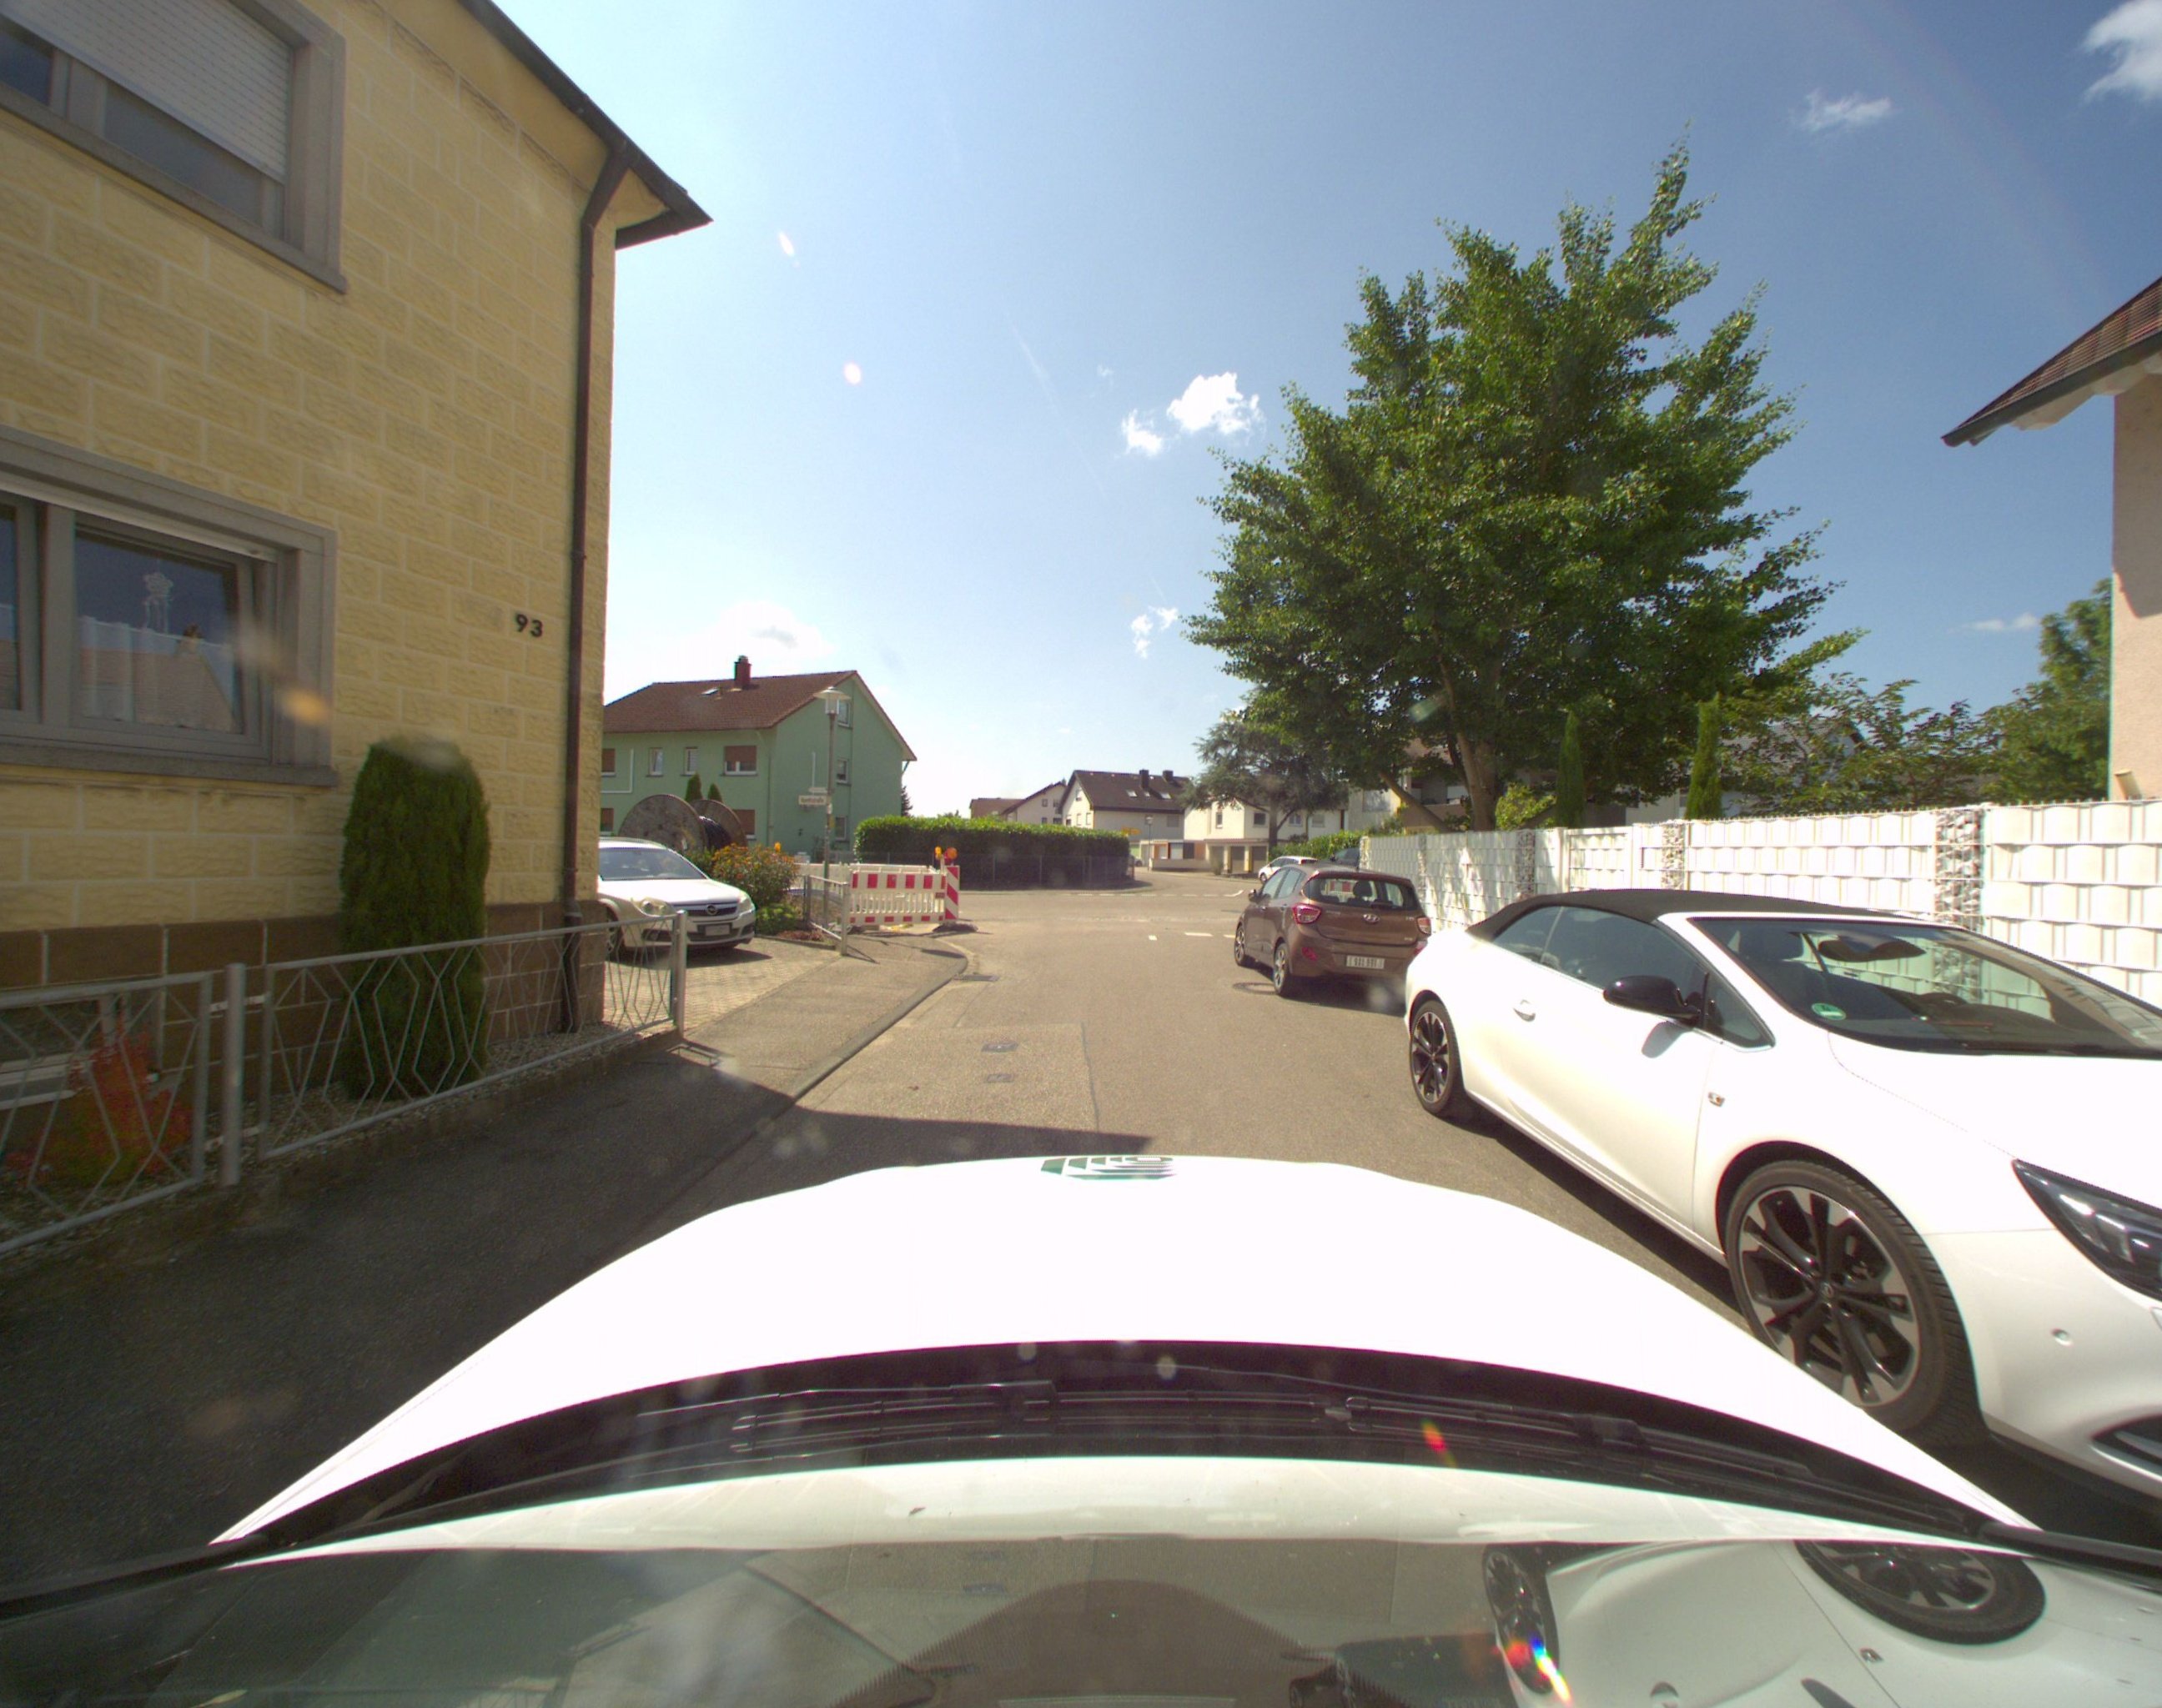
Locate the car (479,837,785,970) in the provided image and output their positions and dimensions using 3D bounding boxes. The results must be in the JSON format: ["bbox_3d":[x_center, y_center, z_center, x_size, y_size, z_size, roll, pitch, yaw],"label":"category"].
[{"bbox_3d":[-6.291,0.545,11.262,4.415,1.485,1.803,1,0,33],"label":"car"}]

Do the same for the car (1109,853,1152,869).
[{"bbox_3d":[4.647,0.701,76.635,3.612,1.408,1.772,1,0,-21],"label":"car"}]

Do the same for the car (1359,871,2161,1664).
[{"bbox_3d":[3.060,0.874,3.820,1.889,1.428,4.736,1,0,0],"label":"car"}]

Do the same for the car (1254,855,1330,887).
[{"bbox_3d":[11.214,0.882,43.573,1.805,1.563,4.112,1,0,-23],"label":"car"}]

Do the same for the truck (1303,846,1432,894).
[{"bbox_3d":[13.041,0.663,37.502,2.374,2.013,5.669,1,0,-23],"label":"truck"}]

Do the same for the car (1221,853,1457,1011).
[{"bbox_3d":[3.070,0.825,10.604,1.707,1.532,4.035,5,0,0],"label":"car"}]
